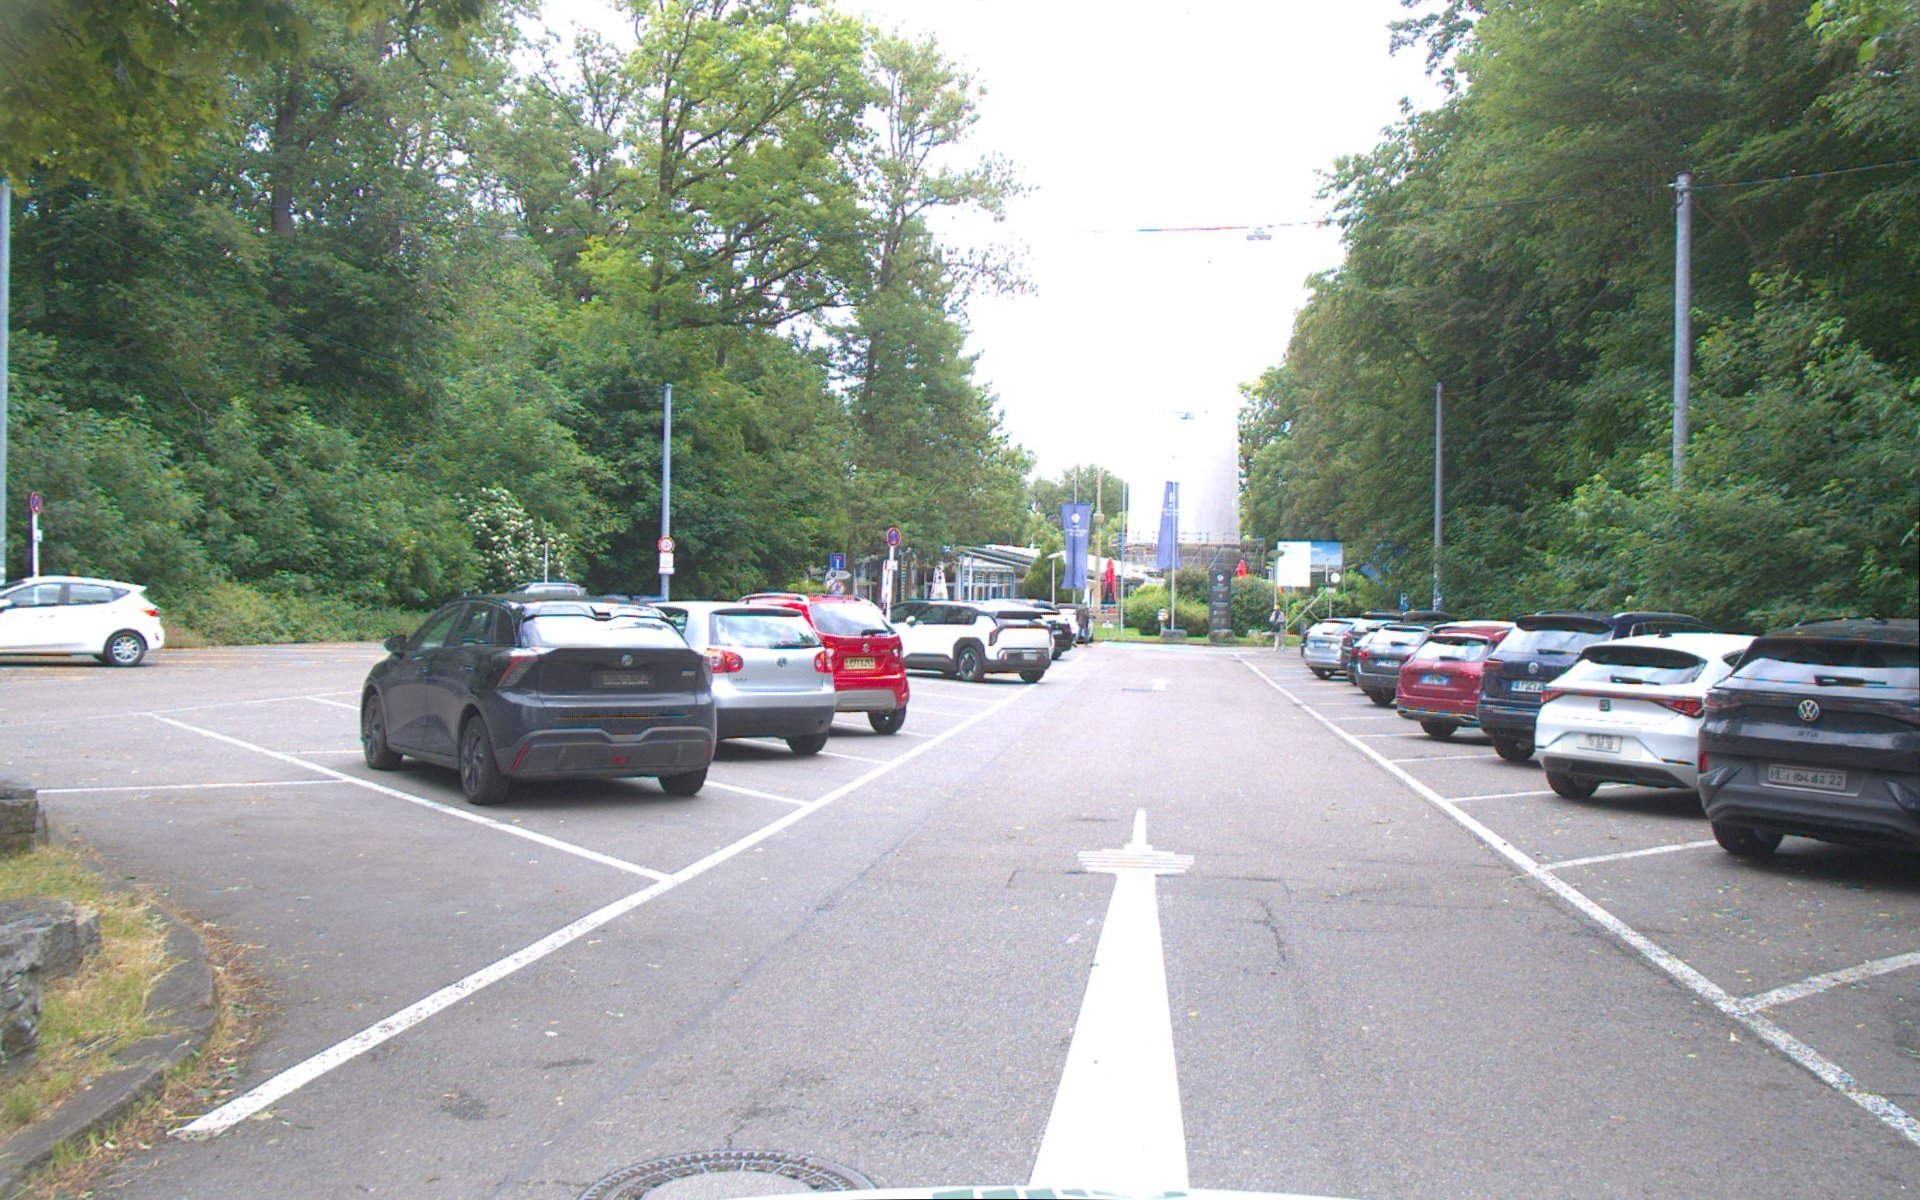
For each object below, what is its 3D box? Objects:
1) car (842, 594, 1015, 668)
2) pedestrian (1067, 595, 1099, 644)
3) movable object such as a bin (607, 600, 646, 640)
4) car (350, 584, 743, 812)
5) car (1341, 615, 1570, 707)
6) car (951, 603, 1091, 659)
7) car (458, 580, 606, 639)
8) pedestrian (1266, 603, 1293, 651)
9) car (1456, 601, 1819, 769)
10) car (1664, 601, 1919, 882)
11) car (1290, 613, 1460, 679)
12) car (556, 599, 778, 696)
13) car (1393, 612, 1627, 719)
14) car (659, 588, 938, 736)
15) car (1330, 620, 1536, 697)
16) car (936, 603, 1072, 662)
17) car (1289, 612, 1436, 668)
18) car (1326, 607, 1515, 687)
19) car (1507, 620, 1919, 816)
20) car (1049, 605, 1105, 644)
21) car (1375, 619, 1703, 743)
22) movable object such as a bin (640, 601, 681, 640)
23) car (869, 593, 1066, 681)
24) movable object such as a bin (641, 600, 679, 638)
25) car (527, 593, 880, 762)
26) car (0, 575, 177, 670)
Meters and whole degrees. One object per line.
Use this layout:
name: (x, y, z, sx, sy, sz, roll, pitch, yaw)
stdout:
car: (-0.762, 0.681, 38.462, 1.859, 1.581, 3.936, 1, 0, -44)
pedestrian: (4.462, 0.714, 60.026, 0.883, 1.755, 0.758, 2, 0, -26)
movable object such as a bin: (-11.606, 0.691, 57.529, 1.107, 1.338, 1.177, 1, 0, -22)
car: (-3.507, 0.677, 13.486, 1.809, 1.550, 4.051, 2, -1, -34)
car: (8.760, 1.046, 29.127, 4.142, 1.483, 1.781, 1, 0, -37)
car: (1.738, 0.886, 48.234, 1.742, 1.468, 4.219, 2, 0, -39)
car: (-13.192, 0.289, 51.055, 4.026, 1.714, 1.856, 2, 0, -36)
pedestrian: (11.797, 0.994, 61.065, 0.747, 1.755, 0.896, 1, 0, 27)
car: (7.580, 0.900, 18.393, 4.070, 1.646, 1.820, 2, -1, -35)
car: (6.816, 0.873, 11.394, 4.162, 1.608, 1.930, 2, -1, -40)
car: (10.083, 1.090, 40.082, 3.950, 1.492, 1.814, 1, 0, -33)
car: (-5.041, 0.760, 28.098, 1.852, 1.467, 4.254, 1, 0, -40)
car: (8.589, 0.986, 25.777, 3.541, 1.531, 1.714, 1, 0, -36)
car: (-2.054, 0.695, 20.293, 1.671, 1.613, 3.602, 1, 0, -40)
car: (9.490, 1.139, 33.068, 4.221, 1.401, 1.938, 1, 0, -40)
car: (1.153, 0.865, 45.172, 1.753, 1.468, 3.796, 2, 0, -36)
car: (11.551, 1.146, 47.393, 4.159, 1.488, 1.875, 2, 0, -37)
car: (10.376, 1.048, 37.160, 4.217, 1.665, 1.939, 1, 0, -37)
car: (6.898, 0.965, 14.625, 4.070, 1.464, 1.847, 2, 0, -35)
car: (4.626, 0.932, 64.802, 1.853, 1.453, 4.003, 1, 0, 9)
car: (7.653, 1.034, 21.764, 4.243, 1.438, 1.906, 2, 0, -33)
movable object such as a bin: (-10.511, 0.707, 57.962, 1.152, 1.330, 1.305, 1, 0, -22)
car: (0.103, 0.716, 33.867, 1.829, 1.624, 4.131, 1, 0, -39)
movable object such as a bin: (-10.955, 0.699, 60.490, 1.228, 1.348, 1.145, 1, 0, -5)
car: (-2.758, 0.718, 17.152, 1.859, 1.509, 3.943, 2, -1, -39)
car: (-15.620, 0.367, 28.056, 3.957, 1.537, 1.845, 1, 0, -37)
